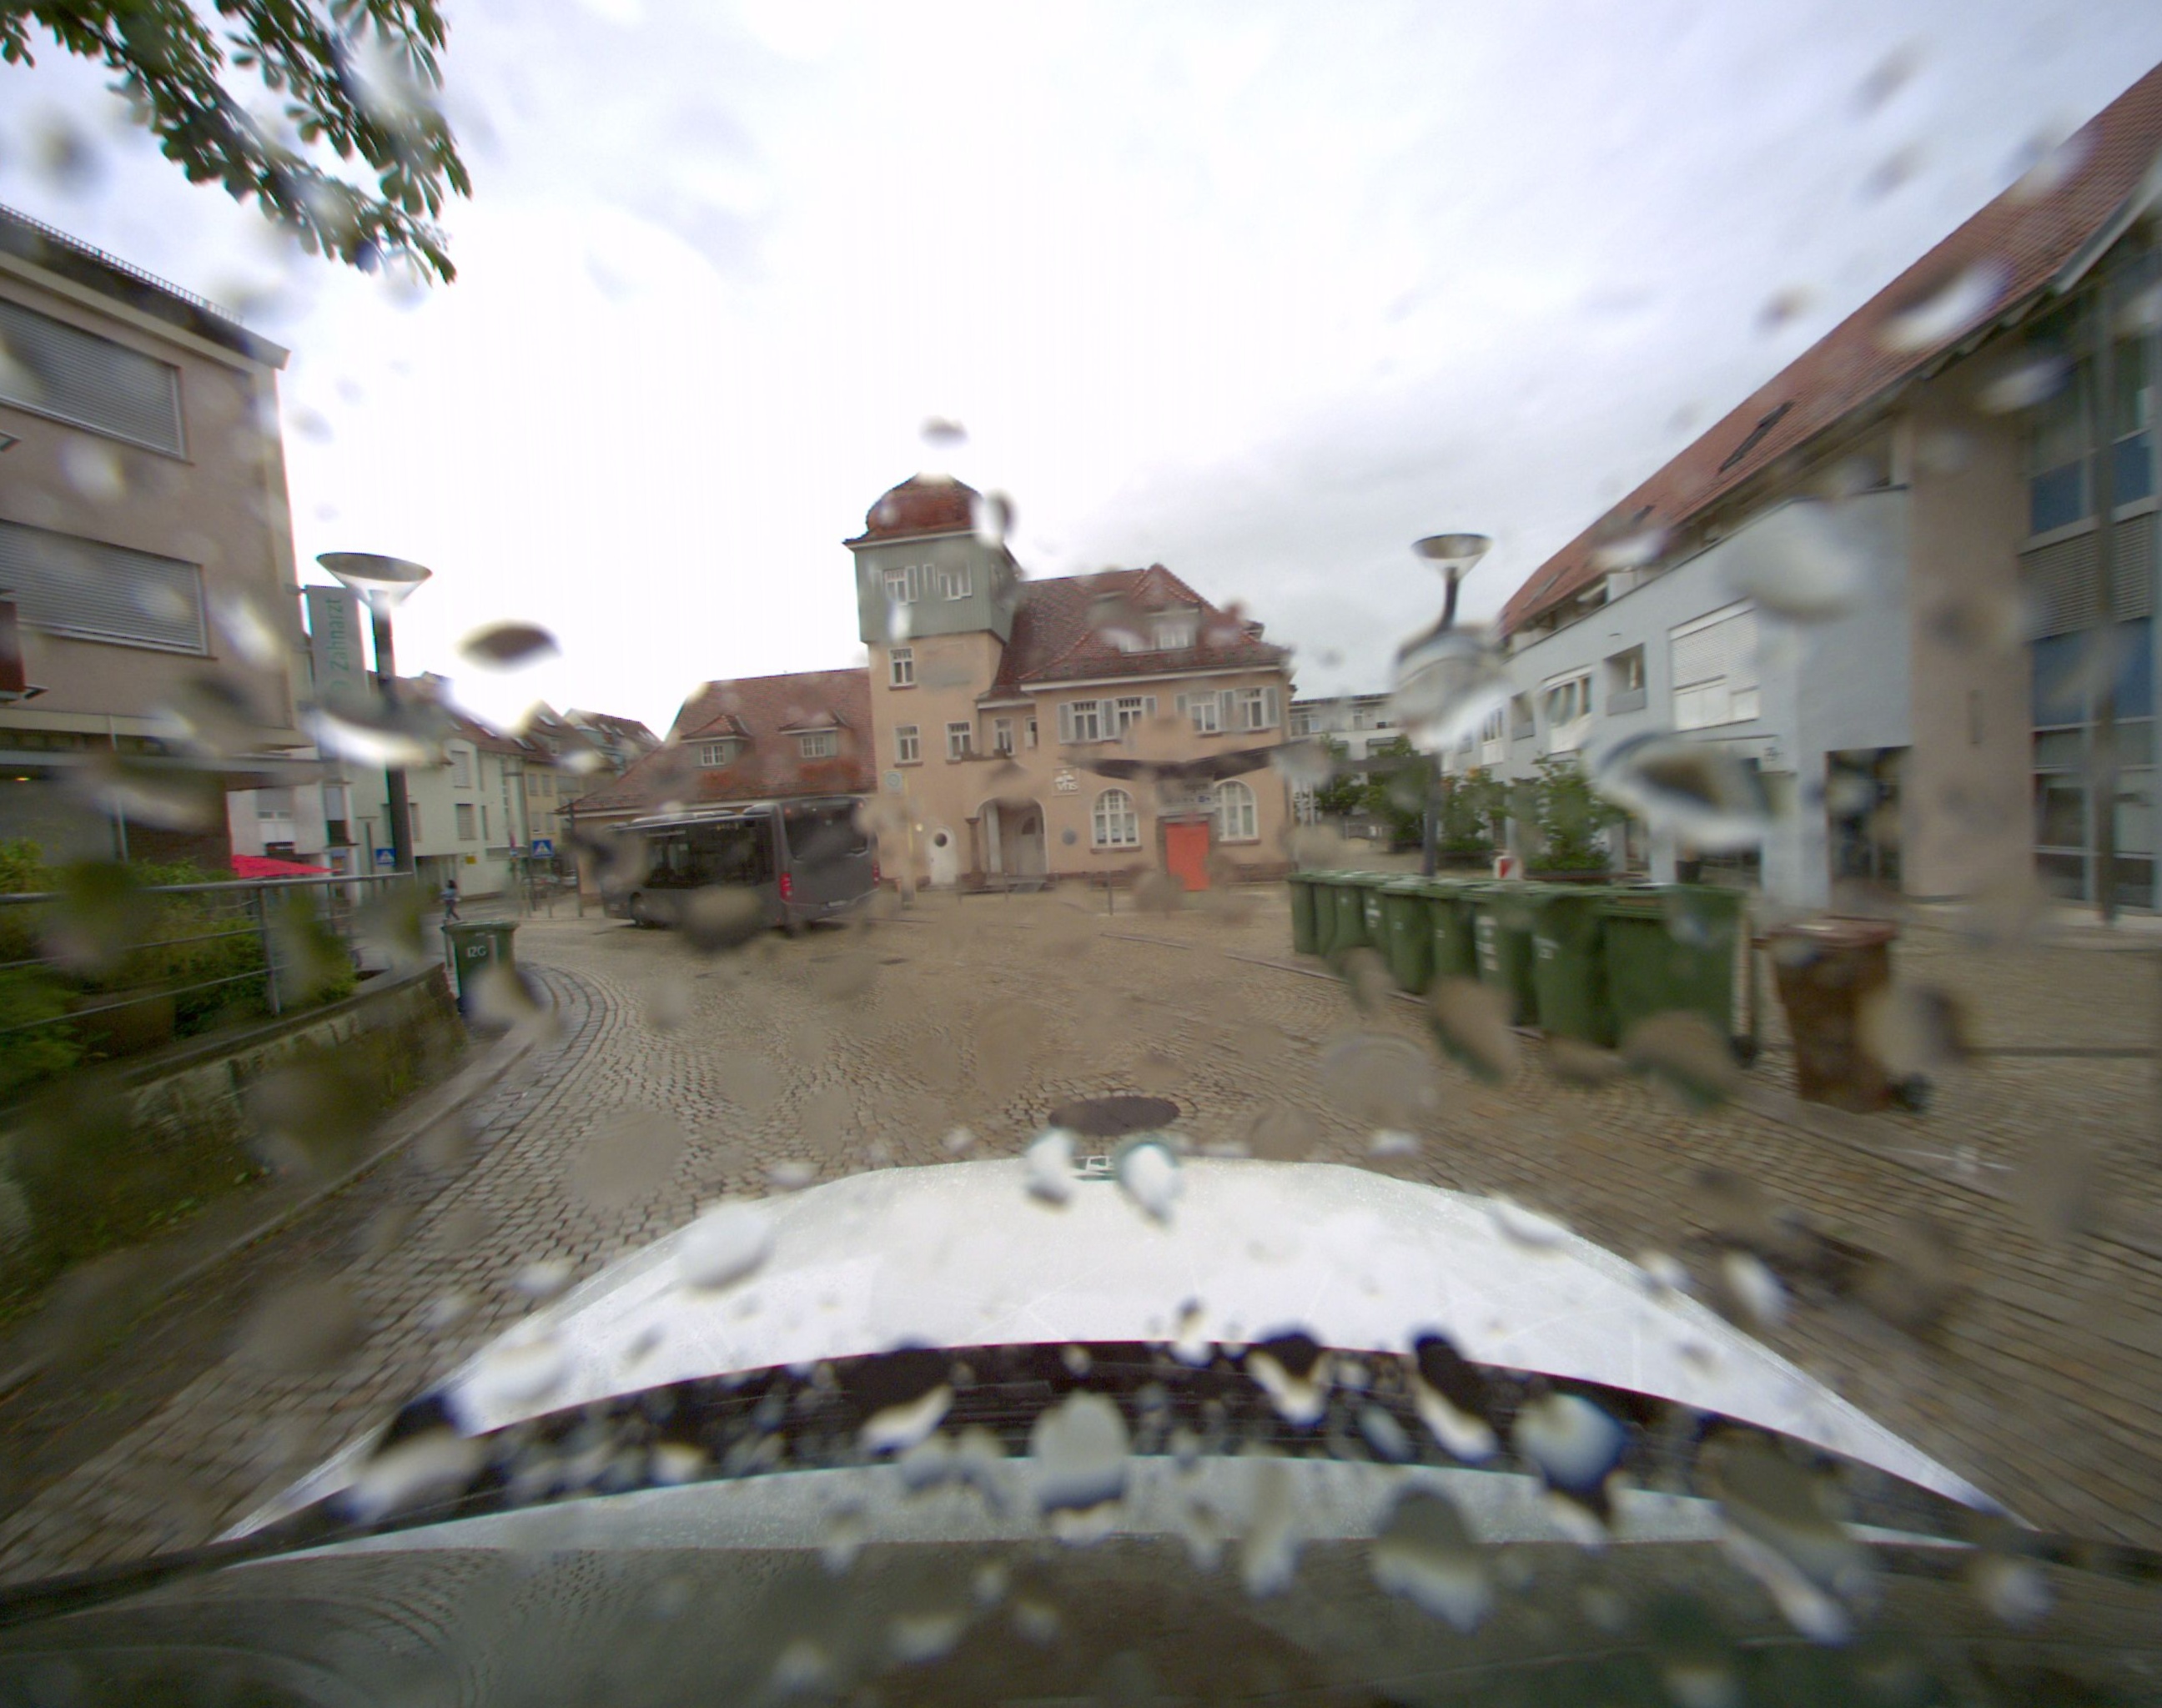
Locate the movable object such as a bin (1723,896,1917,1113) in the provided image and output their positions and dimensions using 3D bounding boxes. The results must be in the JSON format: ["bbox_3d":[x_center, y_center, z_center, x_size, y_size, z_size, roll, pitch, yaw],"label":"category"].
[{"bbox_3d":[3.843,0.742,4.255,0.561,0.991,0.496,-3,0,-16],"label":"movable object such as a bin"}]

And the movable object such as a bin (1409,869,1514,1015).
[{"bbox_3d":[3.259,0.730,7.011,0.559,1.159,0.549,-3,0,-7],"label":"movable object such as a bin"}]

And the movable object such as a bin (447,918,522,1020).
[{"bbox_3d":[-7.237,1.367,9.879,0.684,1.086,0.534,-2,2,-38],"label":"movable object such as a bin"}]

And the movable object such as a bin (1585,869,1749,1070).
[{"bbox_3d":[3.605,0.675,5.041,0.560,1.126,0.548,-3,0,-13],"label":"movable object such as a bin"}]

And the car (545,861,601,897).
[{"bbox_3d":[-34.776,1.642,55.887,1.997,2.013,3.981,-3,4,-15],"label":"car"}]

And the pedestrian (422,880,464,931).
[{"bbox_3d":[-23.089,1.853,29.503,0.759,1.732,0.784,-2,3,-2],"label":"pedestrian"}]

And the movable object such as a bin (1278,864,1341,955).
[{"bbox_3d":[3.006,0.714,10.723,0.538,1.126,0.536,-3,0,-17],"label":"movable object such as a bin"}]

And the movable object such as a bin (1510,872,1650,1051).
[{"bbox_3d":[3.418,0.707,5.616,0.559,1.126,0.549,-3,0,-7],"label":"movable object such as a bin"}]

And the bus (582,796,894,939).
[{"bbox_3d":[-9.512,0.366,21.606,10.420,2.989,2.807,-2,3,39],"label":"bus"}]

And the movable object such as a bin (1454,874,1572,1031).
[{"bbox_3d":[3.356,0.740,6.363,0.559,1.126,0.540,-3,0,-7],"label":"movable object such as a bin"}]

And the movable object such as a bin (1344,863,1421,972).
[{"bbox_3d":[3.307,0.681,8.964,0.559,1.126,0.549,-3,0,-7],"label":"movable object such as a bin"}]

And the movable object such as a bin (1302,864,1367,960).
[{"bbox_3d":[3.131,0.698,10.094,0.536,1.126,0.538,-3,0,-7],"label":"movable object such as a bin"}]

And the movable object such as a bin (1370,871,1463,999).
[{"bbox_3d":[3.165,0.743,7.713,0.559,1.126,0.549,-3,0,-7],"label":"movable object such as a bin"}]

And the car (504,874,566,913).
[{"bbox_3d":[-33.596,2.374,50.225,1.999,1.863,3.977,-3,4,-18],"label":"car"}]

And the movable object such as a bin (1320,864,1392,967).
[{"bbox_3d":[3.198,0.696,9.508,0.559,1.126,0.549,-3,0,-7],"label":"movable object such as a bin"}]
